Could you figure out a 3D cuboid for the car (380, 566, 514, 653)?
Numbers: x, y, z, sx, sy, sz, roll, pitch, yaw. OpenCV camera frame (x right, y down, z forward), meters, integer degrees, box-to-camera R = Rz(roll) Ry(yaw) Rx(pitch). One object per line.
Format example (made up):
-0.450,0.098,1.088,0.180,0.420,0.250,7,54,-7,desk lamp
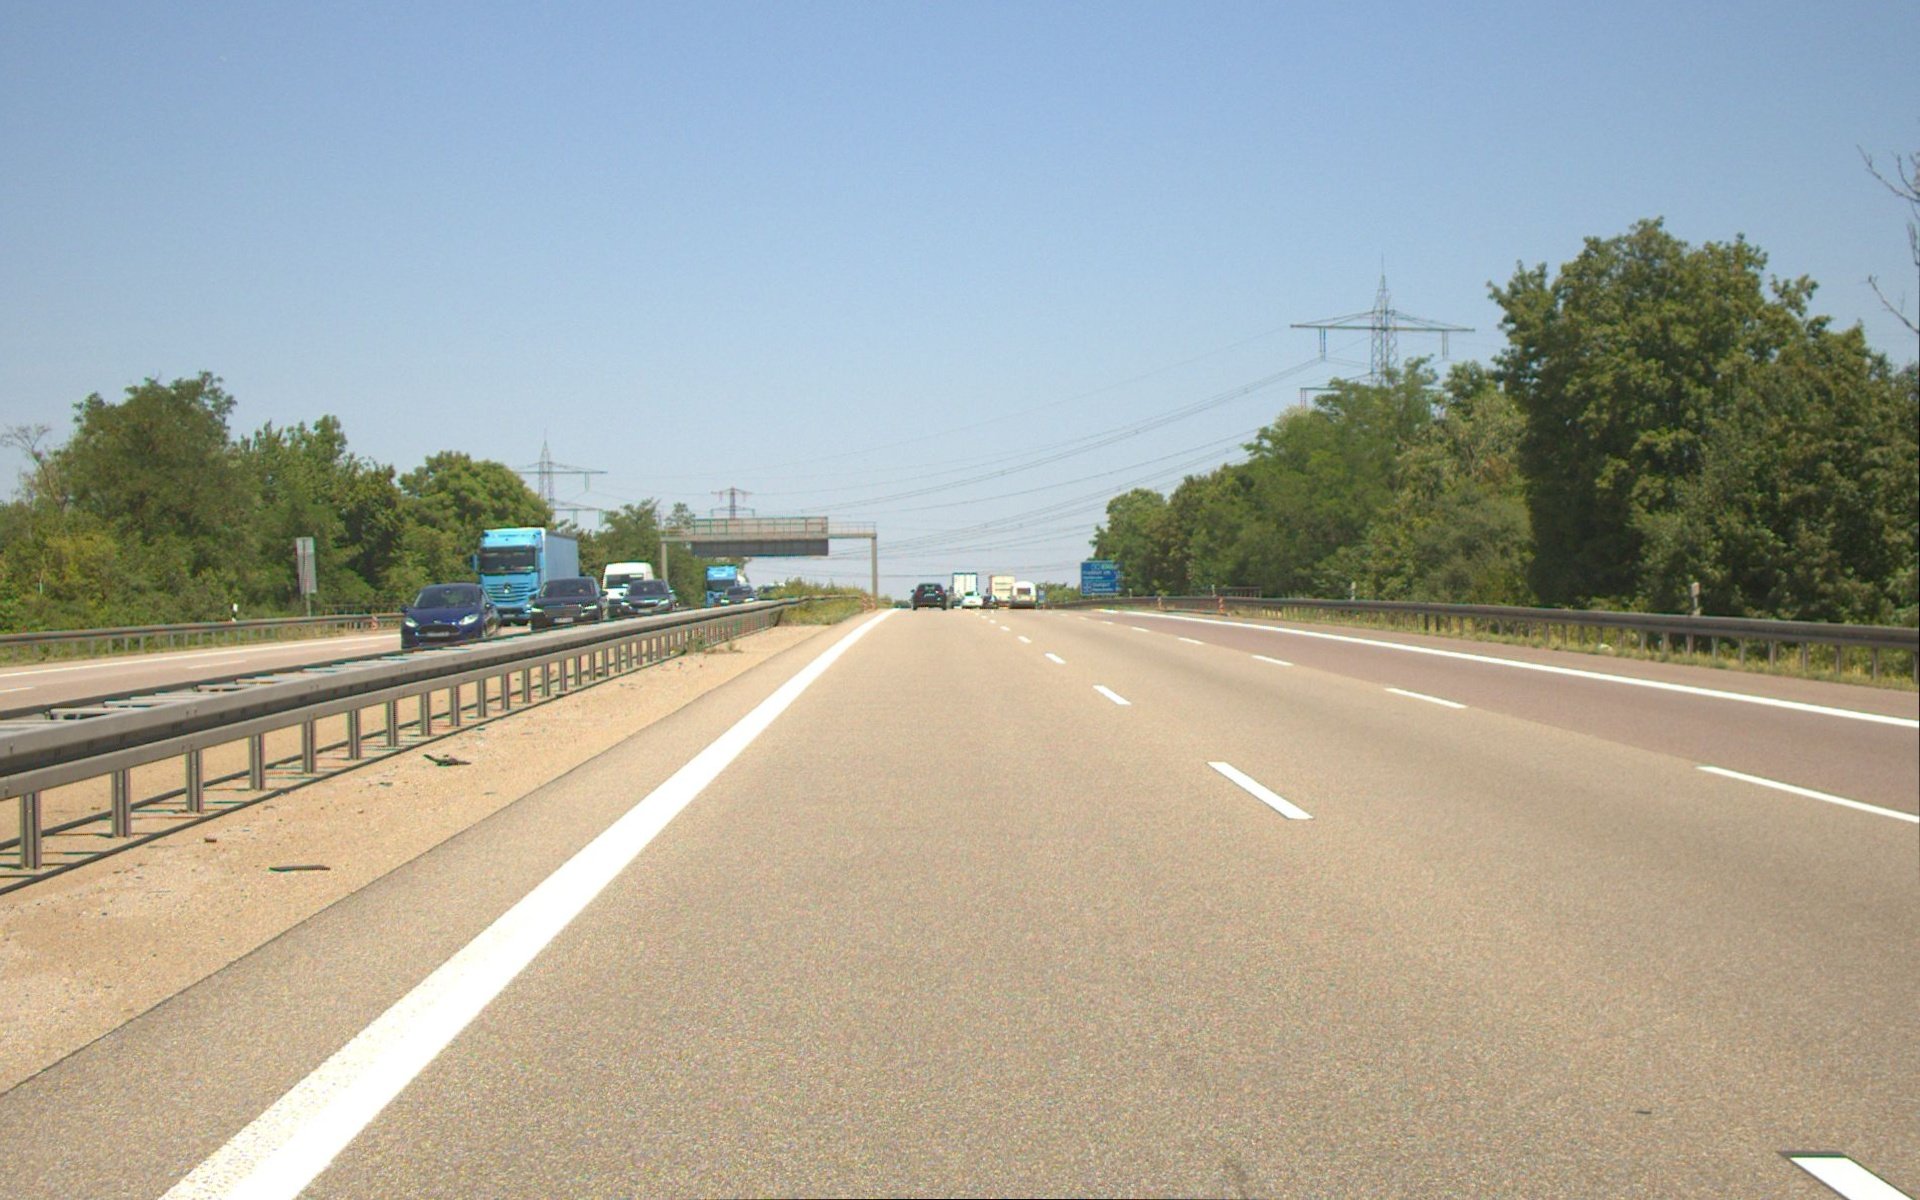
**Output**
-10.564,0.171,71.085,1.993,1.599,4.600,-4,1,-1,car

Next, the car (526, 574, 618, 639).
-10.394,0.154,92.330,1.993,1.684,4.408,-1,1,-1,car

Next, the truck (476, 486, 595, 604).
-18.465,-2.330,150.682,3.225,4.704,16.860,-3,0,-1,truck

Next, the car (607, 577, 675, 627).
-11.302,0.053,121.898,1.993,1.684,4.408,-2,0,-1,car

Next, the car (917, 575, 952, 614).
-1.309,-0.267,180.968,1.791,2.007,3.887,1,0,0,car
